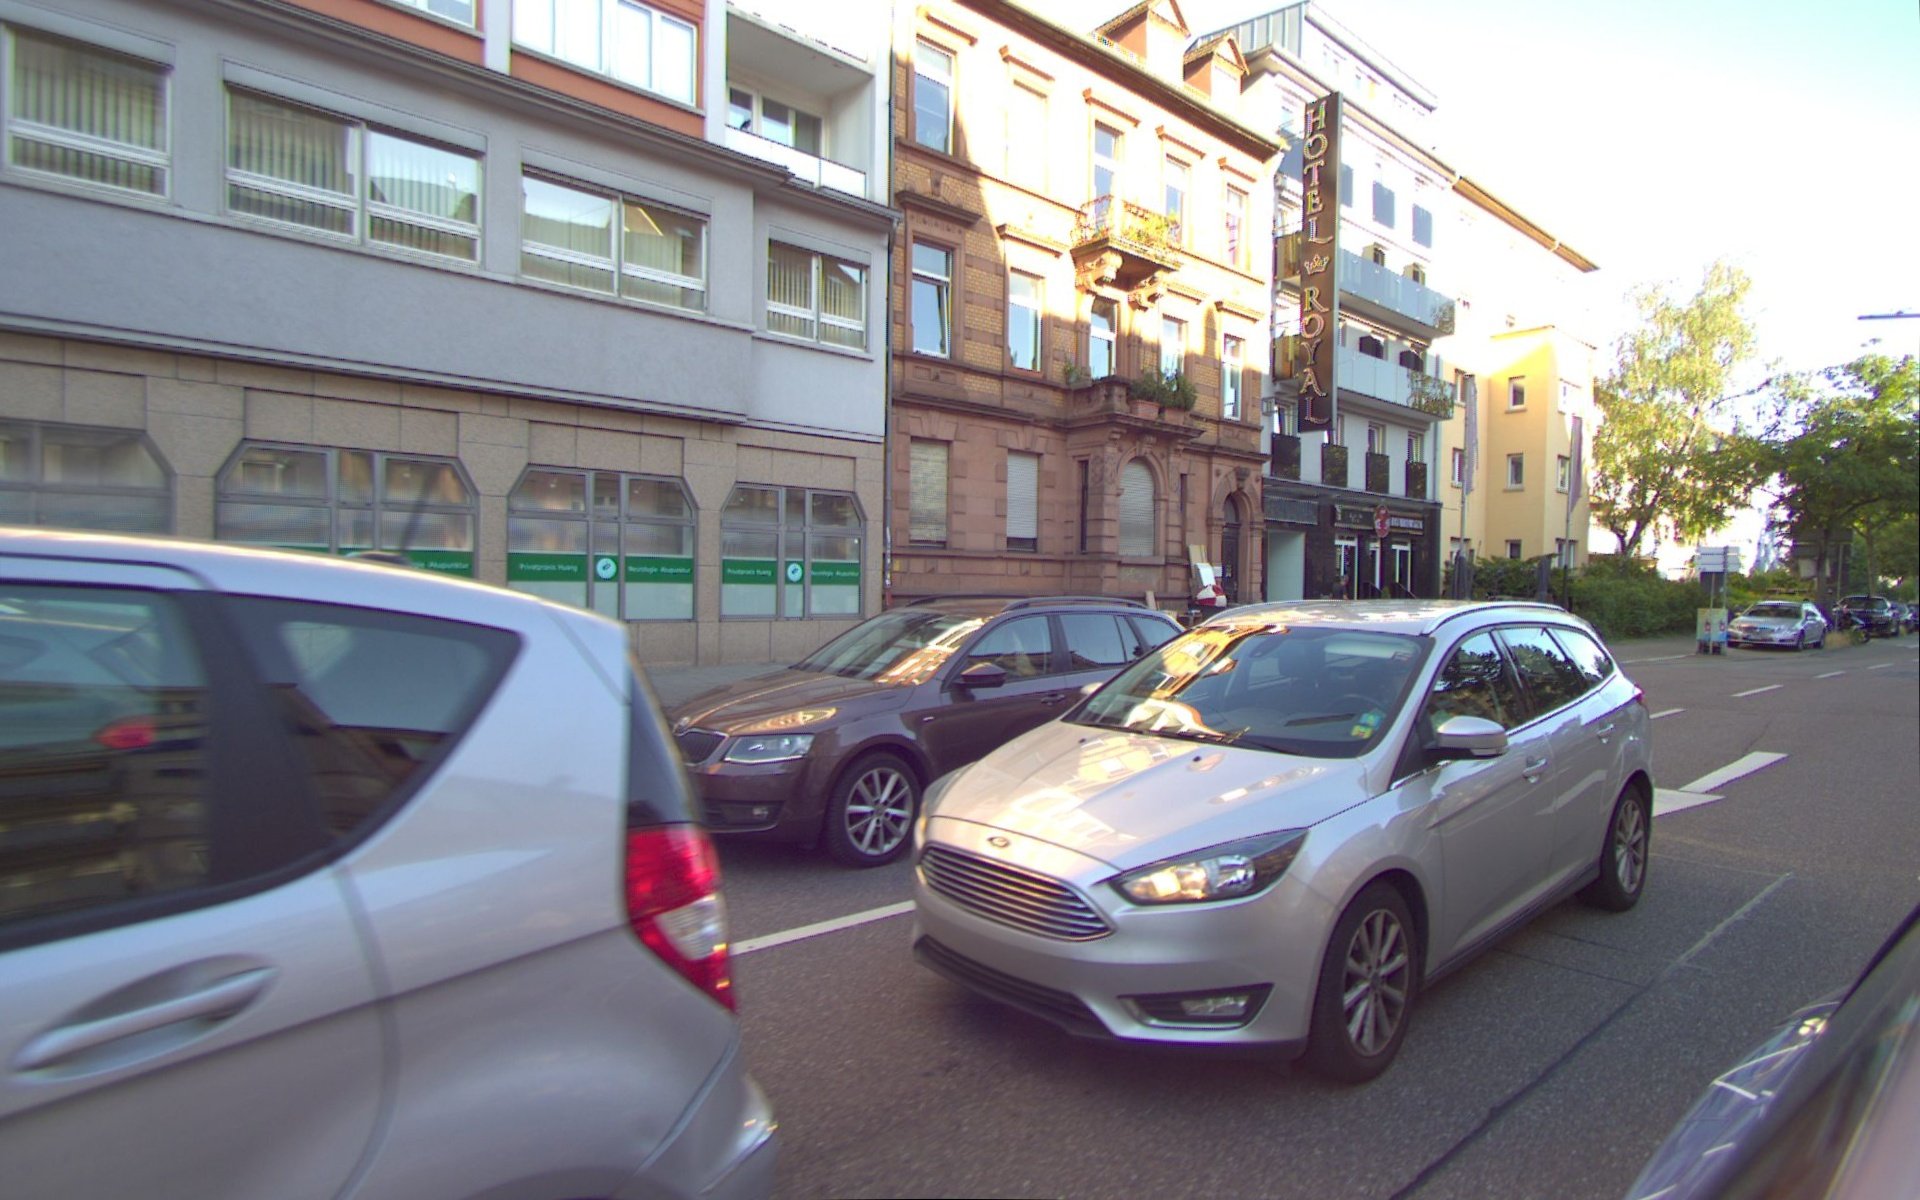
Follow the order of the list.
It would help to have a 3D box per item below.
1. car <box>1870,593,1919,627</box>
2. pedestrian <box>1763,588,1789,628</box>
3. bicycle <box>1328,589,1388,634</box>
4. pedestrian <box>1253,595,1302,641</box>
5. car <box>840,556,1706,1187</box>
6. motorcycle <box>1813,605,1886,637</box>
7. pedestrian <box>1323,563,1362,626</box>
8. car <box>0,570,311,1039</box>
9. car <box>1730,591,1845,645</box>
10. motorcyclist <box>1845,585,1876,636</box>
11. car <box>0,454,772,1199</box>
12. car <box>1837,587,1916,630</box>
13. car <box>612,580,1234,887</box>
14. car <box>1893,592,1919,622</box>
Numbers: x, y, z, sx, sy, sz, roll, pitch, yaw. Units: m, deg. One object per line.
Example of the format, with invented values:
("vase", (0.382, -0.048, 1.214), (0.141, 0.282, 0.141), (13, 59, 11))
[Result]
("car", (44.637, 0.441, 48.035), (4.357, 1.490, 1.719), (0, 2, -43))
("pedestrian", (34.715, 0.329, 43.067), (0.570, 1.636, 0.747), (0, 1, -42))
("bicycle", (10.863, 0.310, 27.629), (1.416, 1.124, 0.483), (5, 2, 33))
("pedestrian", (7.479, 0.410, 23.856), (0.927, 1.056, 0.693), (0, 1, -38))
("car", (1.707, 0.652, 4.500), (4.233, 1.529, 1.710), (0, 0, -41))
("motorcycle", (32.154, 0.747, 36.618), (1.922, 1.084, 0.809), (1, 1, 38))
("pedestrian", (10.346, -0.161, 27.367), (0.681, 1.664, 0.708), (0, 1, -41))
("car", (-4.546, 0.650, 3.065), (4.165, 1.503, 1.653), (0, 0, -41))
("car", (26.221, 0.518, 32.007), (4.748, 1.531, 1.861), (0, 3, -39))
("motorcyclist", (32.418, 0.363, 36.447), (0.734, 1.800, 1.073), (1, 1, 38))
("car", (-2.226, 0.622, 1.111), (3.556, 1.588, 1.806), (0, 1, -42))
("car", (38.229, 0.331, 42.193), (4.713, 1.675, 1.951), (0, 1, -42))
("car", (-0.047, 0.640, 6.930), (4.085, 1.475, 1.711), (0, 1, -41))
("car", (49.768, 0.347, 52.322), (4.406, 1.466, 1.773), (0, 2, -41))
